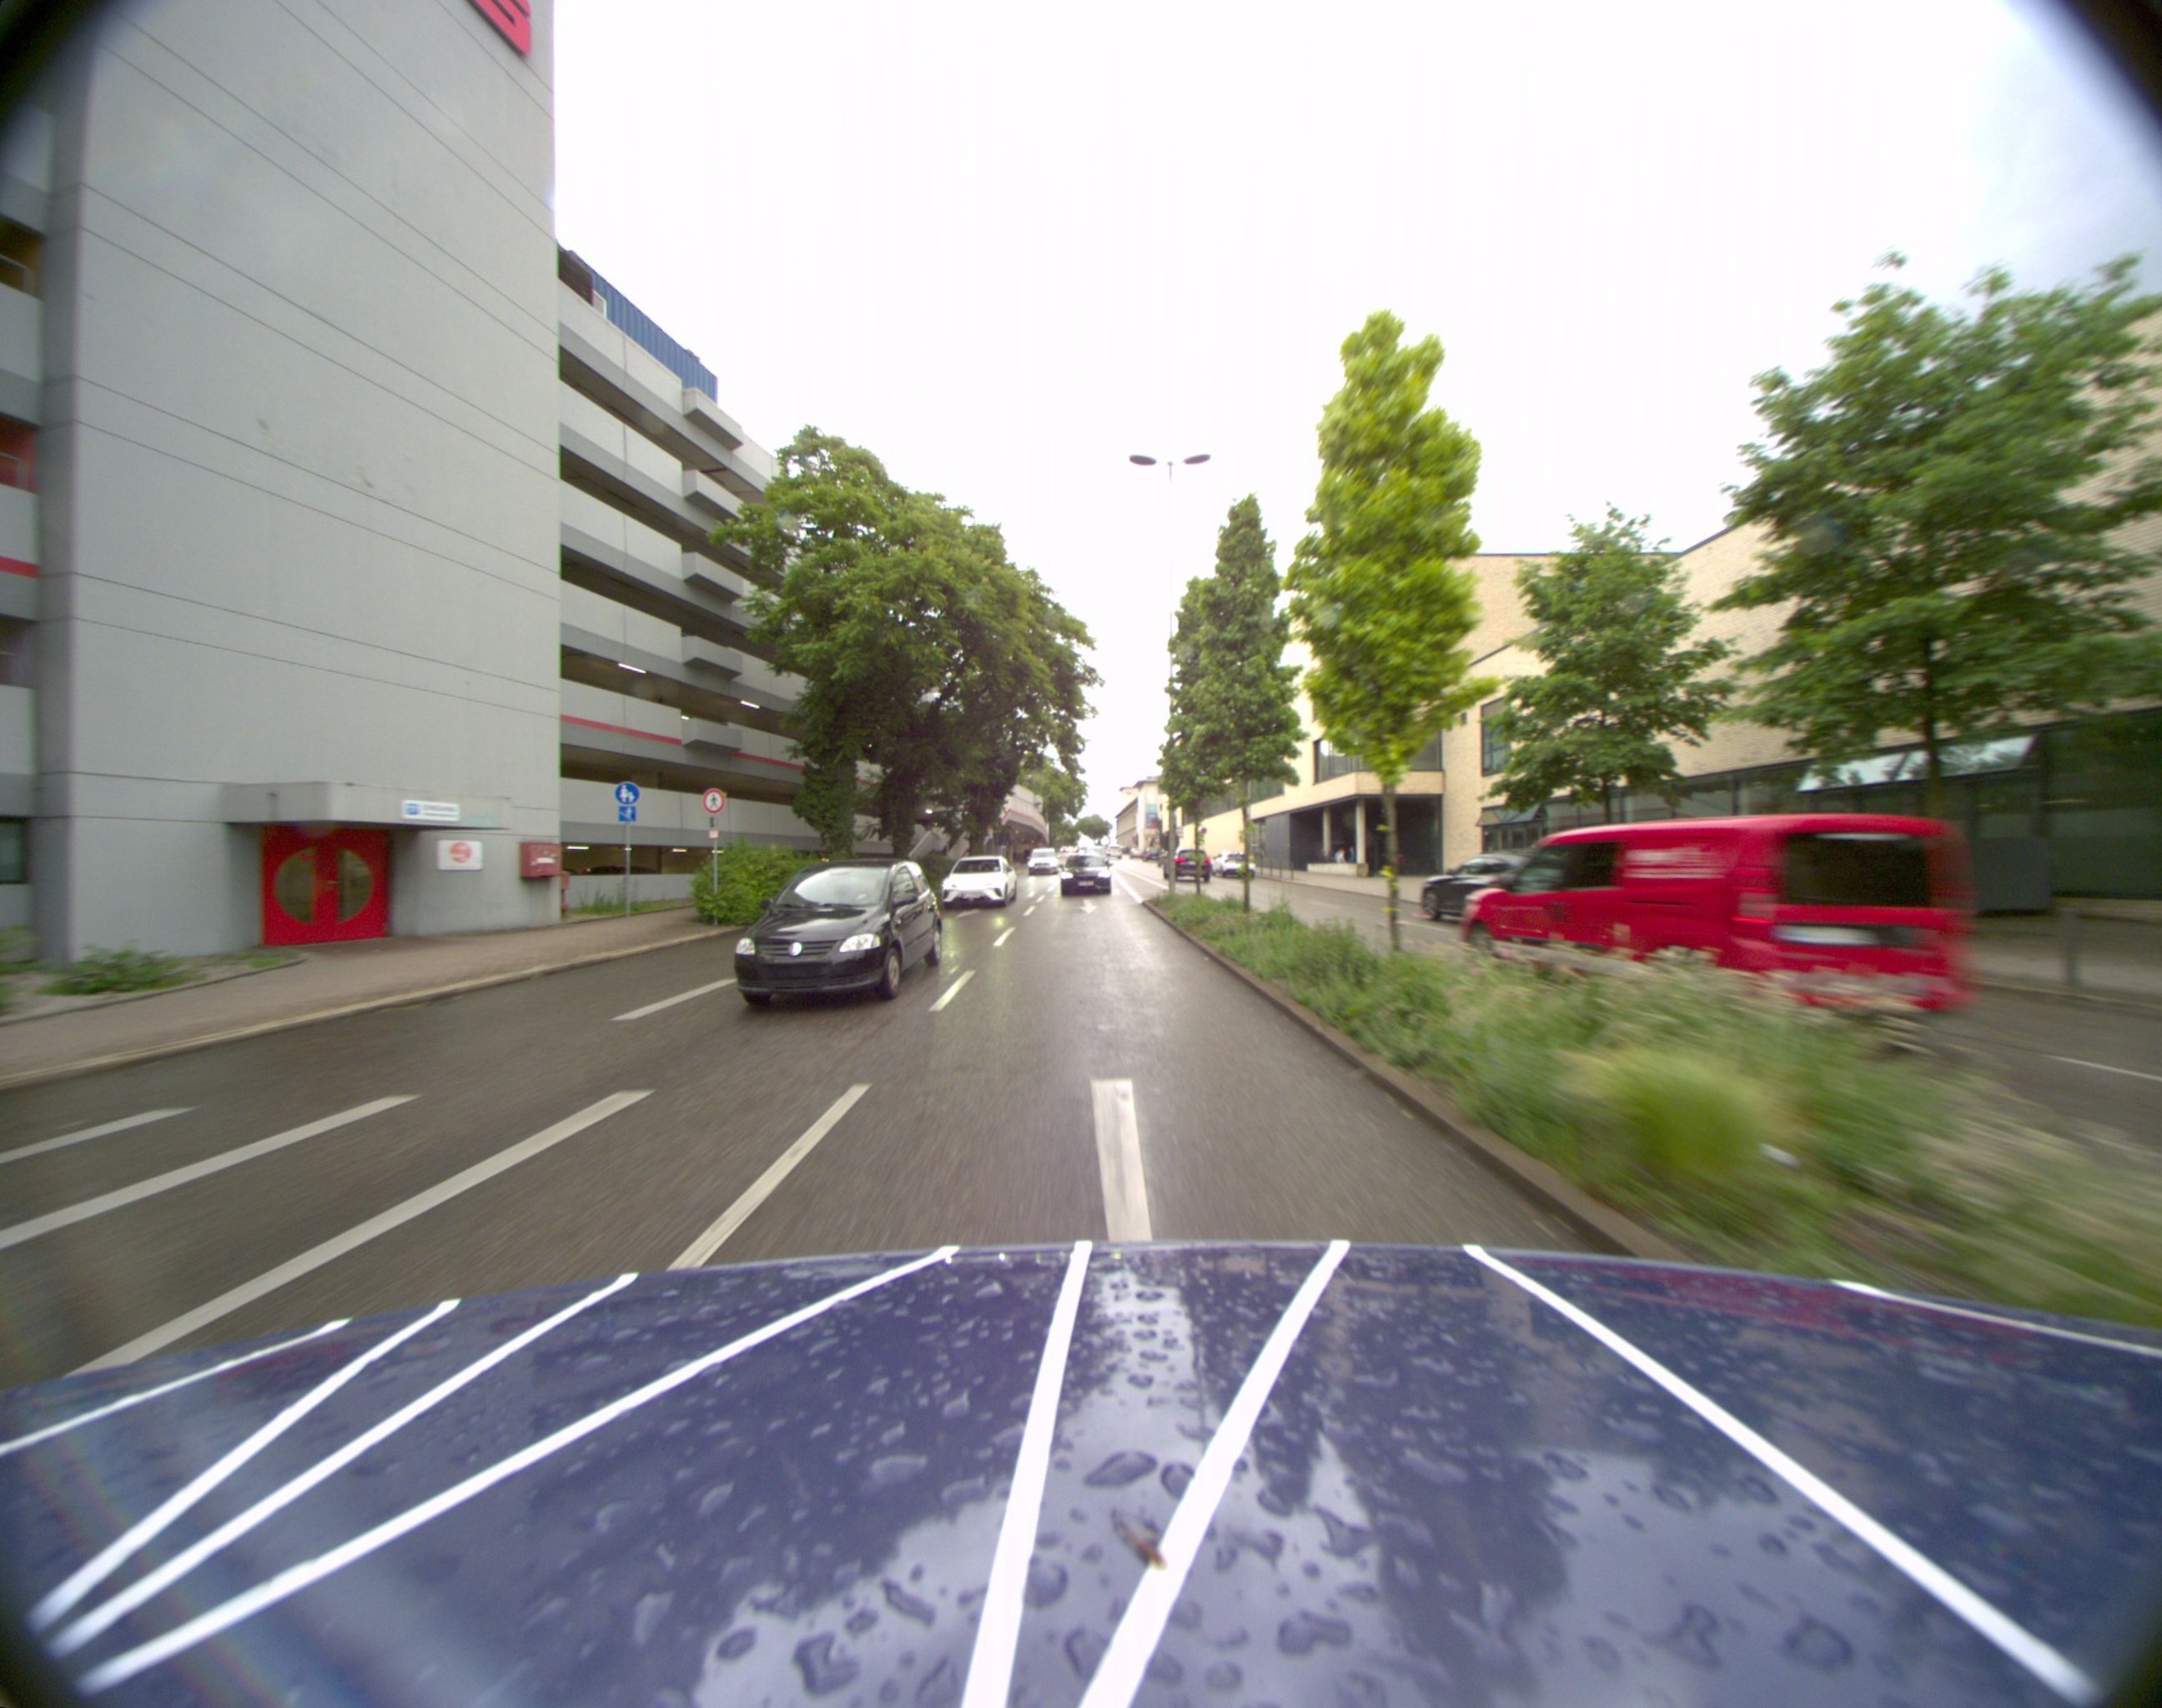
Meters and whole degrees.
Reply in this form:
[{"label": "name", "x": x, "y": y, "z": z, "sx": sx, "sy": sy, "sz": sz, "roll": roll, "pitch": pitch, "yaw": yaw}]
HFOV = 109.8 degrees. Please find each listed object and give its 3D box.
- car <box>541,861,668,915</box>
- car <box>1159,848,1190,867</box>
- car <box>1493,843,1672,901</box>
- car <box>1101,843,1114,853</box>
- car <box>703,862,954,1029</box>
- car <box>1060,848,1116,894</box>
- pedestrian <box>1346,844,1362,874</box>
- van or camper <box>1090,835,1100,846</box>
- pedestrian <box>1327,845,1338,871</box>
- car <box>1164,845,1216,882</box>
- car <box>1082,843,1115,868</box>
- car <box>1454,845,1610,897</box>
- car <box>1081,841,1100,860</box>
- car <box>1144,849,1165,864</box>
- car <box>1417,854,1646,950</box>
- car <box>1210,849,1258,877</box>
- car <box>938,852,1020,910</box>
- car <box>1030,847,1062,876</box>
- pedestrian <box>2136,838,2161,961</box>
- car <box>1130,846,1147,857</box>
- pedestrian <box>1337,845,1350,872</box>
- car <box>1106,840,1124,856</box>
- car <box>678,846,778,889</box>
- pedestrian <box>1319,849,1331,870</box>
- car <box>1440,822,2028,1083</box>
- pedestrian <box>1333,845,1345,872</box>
[{"label": "car", "x": -16.730, "y": 1.157, "z": 26.738, "sx": 3.460, "sy": 1.772, "sz": 1.817, "roll": -1, "pitch": 1, "yaw": 13}, {"label": "car", "x": 7.229, "y": 0.239, "z": 59.375, "sx": 1.737, "sy": 1.386, "sz": 4.198, "roll": 2, "pitch": 1, "yaw": -2}, {"label": "car", "x": 15.419, "y": 0.531, "z": 23.555, "sx": 4.186, "sy": 1.539, "sz": 2.000, "roll": -2, "pitch": 2, "yaw": 2}, {"label": "car", "x": 4.123, "y": -0.954, "z": 119.073, "sx": 1.816, "sy": 1.454, "sz": 4.286, "roll": 2, "pitch": 1, "yaw": -2}, {"label": "car", "x": -2.806, "y": 0.918, "z": 9.449, "sx": 1.683, "sy": 1.516, "sz": 3.989, "roll": -2, "pitch": 0, "yaw": 1}, {"label": "car", "x": 0.254, "y": 0.572, "z": 27.968, "sx": 1.852, "sy": 1.516, "sz": 3.989, "roll": -2, "pitch": 0, "yaw": 1}, {"label": "pedestrian", "x": 15.794, "y": 0.272, "z": 43.957, "sx": 0.636, "sy": 1.705, "sz": 0.704, "roll": -2, "pitch": 2, "yaw": 0}, {"label": "van or camper", "x": 3.302, "y": -3.259, "z": 178.900, "sx": 2.107, "sy": 2.567, "sz": 5.906, "roll": 1, "pitch": 1, "yaw": -1}, {"label": "pedestrian", "x": 14.536, "y": 0.242, "z": 43.886, "sx": 0.450, "sy": 1.467, "sz": 0.463, "roll": -2, "pitch": 2, "yaw": -4}, {"label": "car", "x": 5.234, "y": 0.411, "z": 37.071, "sx": 1.737, "sy": 1.616, "sz": 4.230, "roll": 2, "pitch": 1, "yaw": -2}, {"label": "car", "x": 1.184, "y": 0.079, "z": 50.495, "sx": 1.998, "sy": 1.478, "sz": 3.999, "roll": -2, "pitch": 2, "yaw": 2}, {"label": "car", "x": 15.279, "y": 0.540, "z": 25.862, "sx": 4.188, "sy": 1.486, "sz": 1.998, "roll": -2, "pitch": 2, "yaw": -6}, {"label": "car", "x": 1.063, "y": -0.432, "z": 84.588, "sx": 1.998, "sy": 2.002, "sz": 3.999, "roll": -2, "pitch": 2, "yaw": 0}, {"label": "car", "x": 7.750, "y": 0.236, "z": 80.763, "sx": 1.750, "sy": 1.404, "sz": 3.969, "roll": 2, "pitch": 1, "yaw": -1}, {"label": "car", "x": 8.870, "y": 0.843, "z": 15.550, "sx": 1.893, "sy": 1.578, "sz": 4.535, "roll": 2, "pitch": 1, "yaw": -1}, {"label": "car", "x": 8.627, "y": 0.460, "z": 43.130, "sx": 1.737, "sy": 1.461, "sz": 4.230, "roll": 2, "pitch": 1, "yaw": -2}, {"label": "car", "x": -3.002, "y": 0.753, "z": 23.175, "sx": 1.915, "sy": 1.443, "sz": 4.036, "roll": -2, "pitch": 2, "yaw": 0}, {"label": "car", "x": -2.197, "y": 0.433, "z": 48.792, "sx": 1.727, "sy": 1.628, "sz": 3.999, "roll": -2, "pitch": 2, "yaw": 1}, {"label": "pedestrian", "x": 15.010, "y": 0.616, "z": 10.056, "sx": 0.644, "sy": 1.656, "sz": 1.018, "roll": -3, "pitch": 2, "yaw": -5}, {"label": "car", "x": 7.384, "y": -0.363, "z": 97.795, "sx": 1.834, "sy": 1.380, "sz": 4.228, "roll": 2, "pitch": 1, "yaw": -1}, {"label": "pedestrian", "x": 14.595, "y": 0.262, "z": 42.252, "sx": 0.442, "sy": 1.467, "sz": 0.528, "roll": -2, "pitch": 2, "yaw": -4}, {"label": "car", "x": 4.219, "y": -0.765, "z": 94.313, "sx": 1.896, "sy": 1.801, "sz": 4.572, "roll": 2, "pitch": 1, "yaw": -2}, {"label": "car", "x": -15.134, "y": 0.554, "z": 32.646, "sx": 3.460, "sy": 1.772, "sz": 1.817, "roll": -1, "pitch": 1, "yaw": 13}, {"label": "pedestrian", "x": 14.396, "y": 0.300, "z": 44.803, "sx": 0.550, "sy": 1.208, "sz": 0.421, "roll": -2, "pitch": 2, "yaw": 3}, {"label": "car", "x": 5.833, "y": 0.681, "z": 7.861, "sx": 1.797, "sy": 1.843, "sz": 4.791, "roll": 2, "pitch": 1, "yaw": -2}, {"label": "pedestrian", "x": 14.561, "y": 0.243, "z": 42.934, "sx": 0.450, "sy": 1.467, "sz": 0.463, "roll": -2, "pitch": 2, "yaw": -4}]
